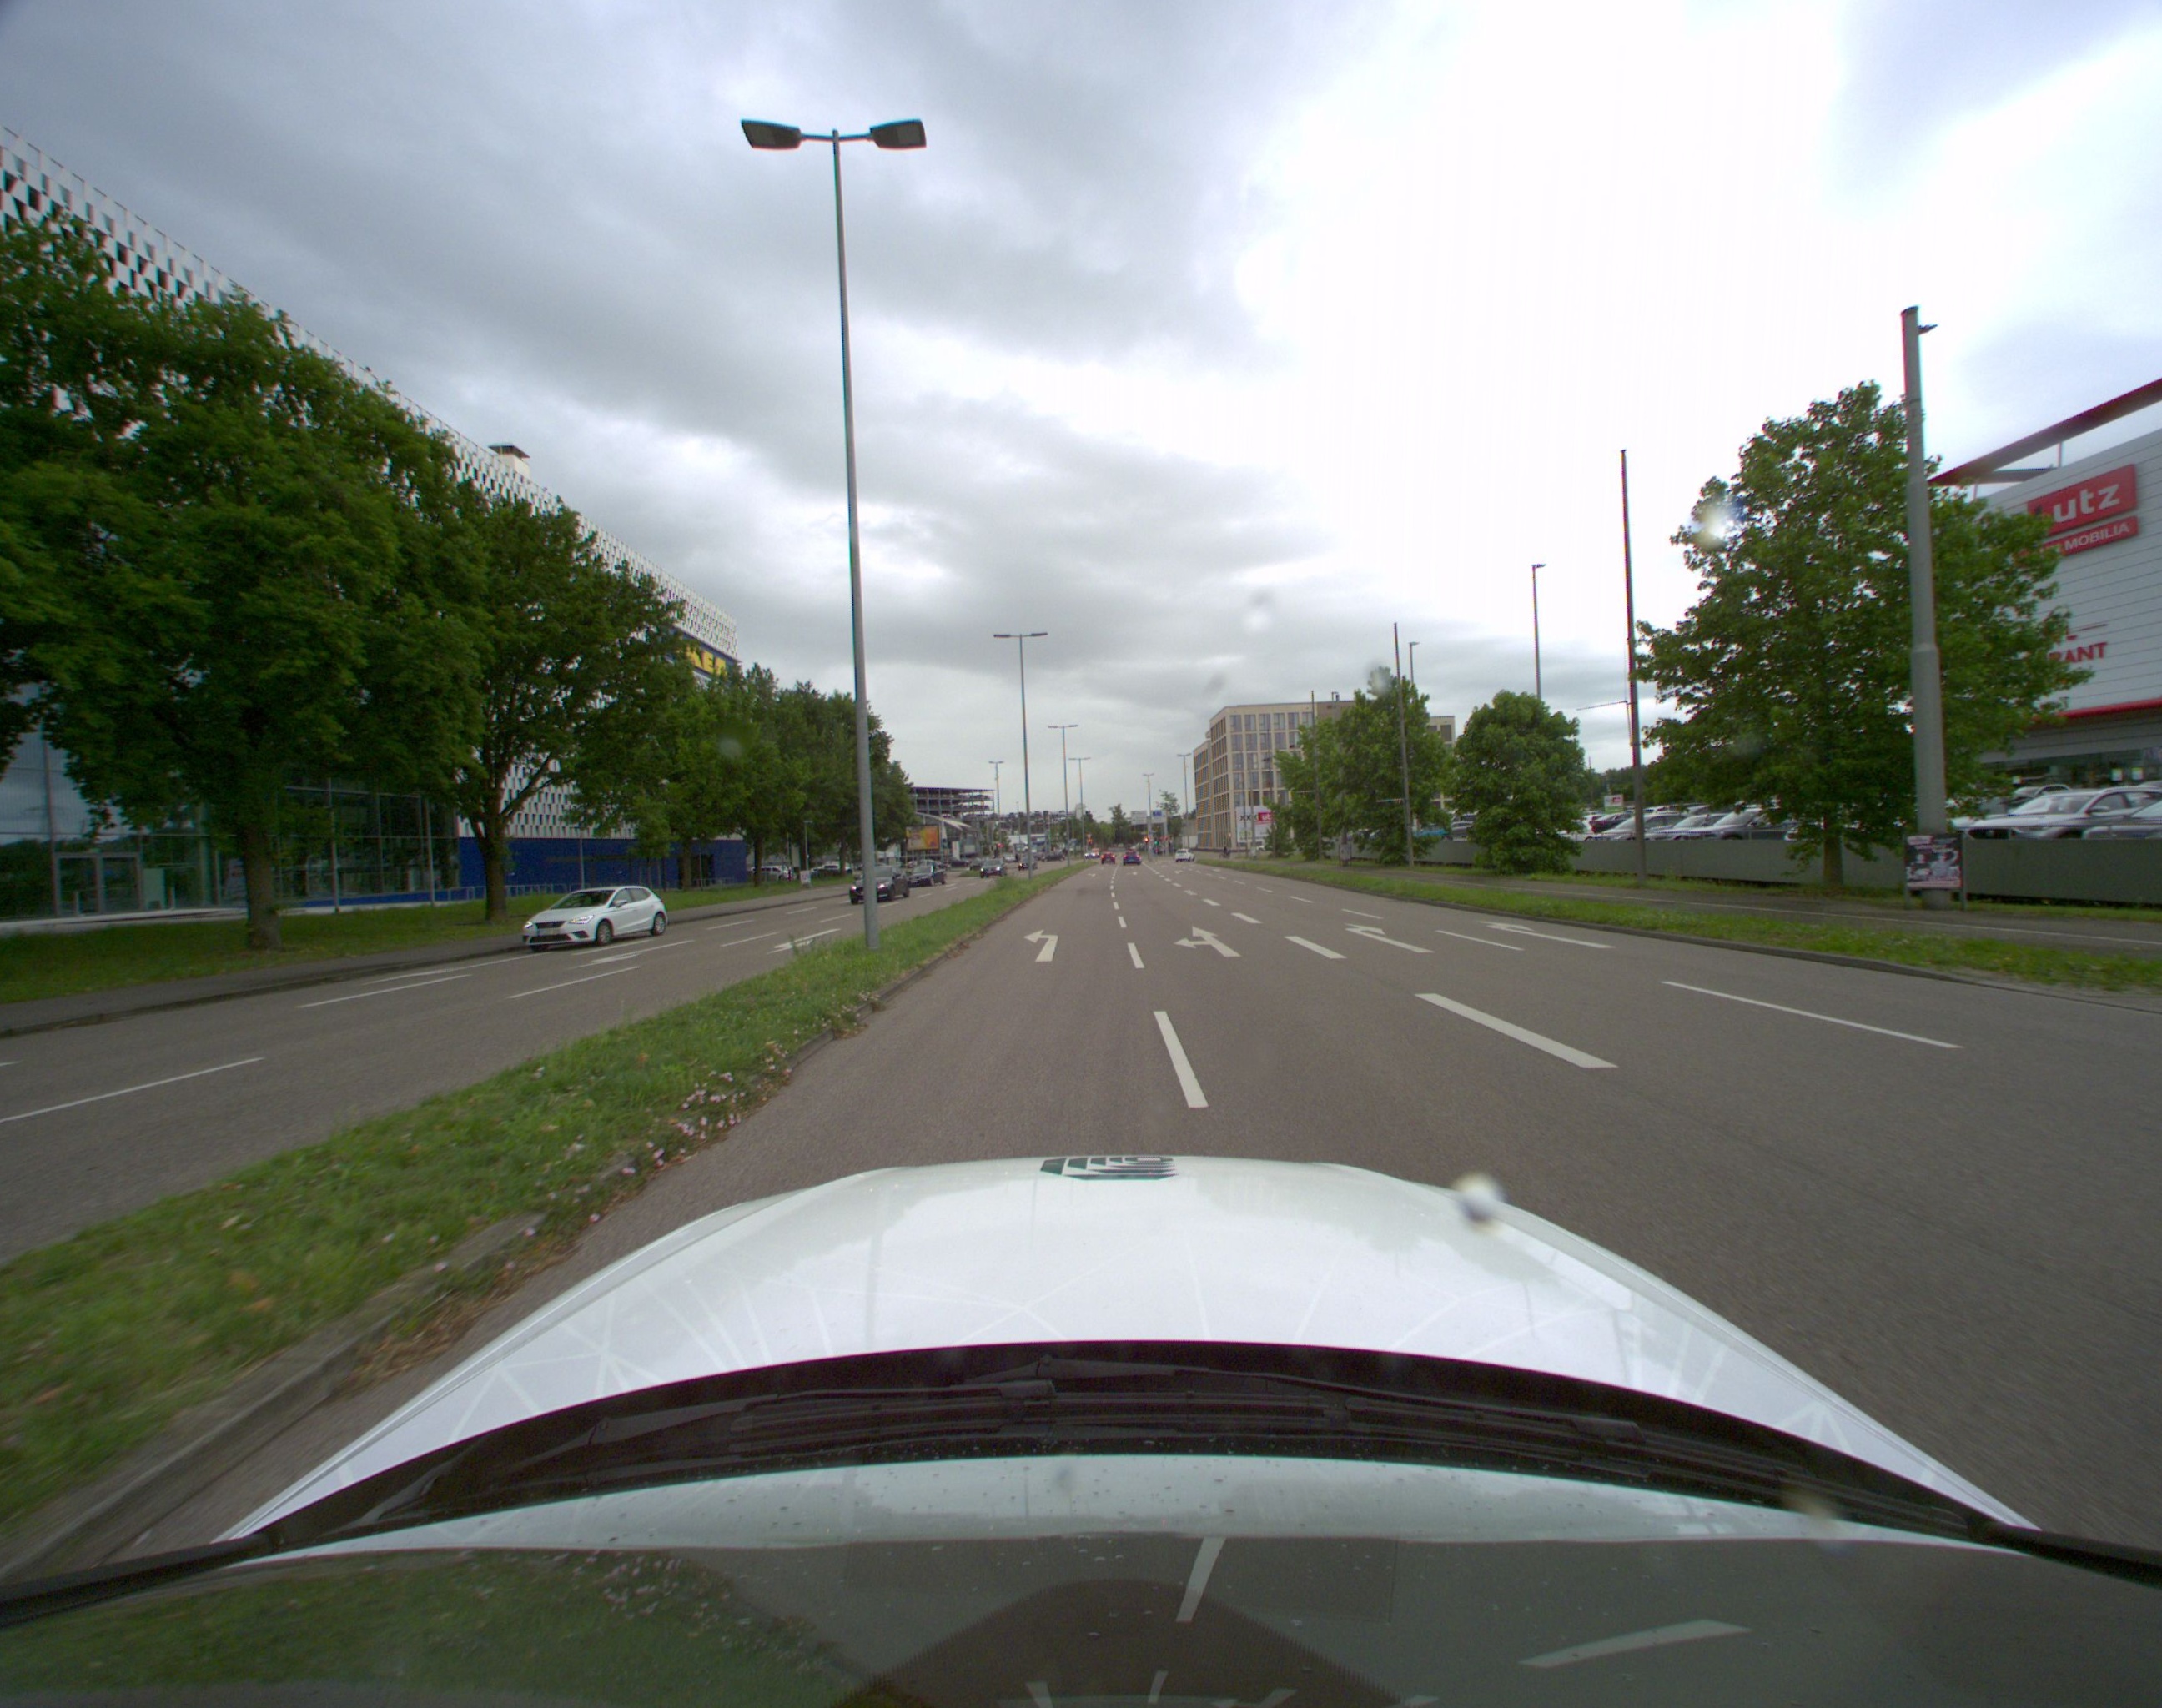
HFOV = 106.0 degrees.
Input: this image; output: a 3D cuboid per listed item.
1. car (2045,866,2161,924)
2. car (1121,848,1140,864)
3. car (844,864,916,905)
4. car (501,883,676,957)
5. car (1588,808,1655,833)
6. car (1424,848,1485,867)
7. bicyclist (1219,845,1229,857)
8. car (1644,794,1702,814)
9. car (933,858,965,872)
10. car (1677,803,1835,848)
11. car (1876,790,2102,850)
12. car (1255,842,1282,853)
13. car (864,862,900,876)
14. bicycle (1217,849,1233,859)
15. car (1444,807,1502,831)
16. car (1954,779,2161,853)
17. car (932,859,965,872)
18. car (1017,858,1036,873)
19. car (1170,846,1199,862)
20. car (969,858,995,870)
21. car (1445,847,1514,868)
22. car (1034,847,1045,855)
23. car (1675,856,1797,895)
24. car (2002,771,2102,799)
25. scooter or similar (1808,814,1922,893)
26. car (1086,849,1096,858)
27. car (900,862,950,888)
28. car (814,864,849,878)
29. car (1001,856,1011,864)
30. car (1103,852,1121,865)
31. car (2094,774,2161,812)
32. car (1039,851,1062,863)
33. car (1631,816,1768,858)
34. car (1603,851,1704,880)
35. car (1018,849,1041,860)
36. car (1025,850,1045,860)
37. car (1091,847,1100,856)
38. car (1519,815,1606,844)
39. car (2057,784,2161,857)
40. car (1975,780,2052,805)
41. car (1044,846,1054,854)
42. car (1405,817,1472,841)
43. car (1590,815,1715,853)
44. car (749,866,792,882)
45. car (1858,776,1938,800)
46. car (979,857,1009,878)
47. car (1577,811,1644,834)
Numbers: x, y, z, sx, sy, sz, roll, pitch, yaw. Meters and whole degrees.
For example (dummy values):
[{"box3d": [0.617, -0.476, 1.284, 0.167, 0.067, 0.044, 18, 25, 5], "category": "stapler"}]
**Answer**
[{"box3d": [28.923, 1.050, 21.784, 4.038, 1.350, 1.765, -2, 0, 2], "category": "car"}, {"box3d": [5.350, 0.197, 88.430, 1.828, 1.514, 4.002, -3, 2, 2], "category": "car"}, {"box3d": [-8.323, 1.222, 34.096, 1.751, 1.453, 4.003, -4, 0, 3], "category": "car"}, {"box3d": [-12.417, 1.606, 20.909, 1.860, 1.454, 4.167, -5, -1, -1], "category": "car"}, {"box3d": [38.834, -2.388, 58.598, 3.614, 1.632, 1.704, -3, 2, 5], "category": "car"}, {"box3d": [29.871, 0.298, 65.143, 4.039, 1.350, 1.764, -2, 0, 1], "category": "car"}, {"box3d": [17.917, -0.357, 102.222, 0.705, 1.504, 0.989, -3, 1, -34], "category": "bicyclist"}, {"box3d": [49.911, -4.190, 68.730, 3.614, 1.495, 1.704, -3, 2, 5], "category": "car"}, {"box3d": [-19.711, 1.637, 121.727, 4.387, 1.643, 2.001, -3, 2, 0], "category": "car"}, {"box3d": [23.844, -0.997, 28.862, 4.139, 1.350, 1.810, -3, 2, 0], "category": "car"}, {"box3d": [24.096, -0.894, 21.719, 4.041, 1.350, 1.835, -3, 2, 0], "category": "car"}, {"box3d": [31.034, -1.040, 135.109, 3.945, 1.567, 1.753, -3, 2, -12], "category": "car"}, {"box3d": [-27.928, 2.076, 114.637, 4.536, 1.659, 1.997, -4, 1, -5], "category": "car"}, {"box3d": [18.065, 0.010, 102.044, 0.705, 1.295, 1.990, -3, 1, -34], "category": "bicycle"}, {"box3d": [40.586, -3.661, 84.417, 4.987, 2.210, 2.169, -3, 2, 5], "category": "car"}, {"box3d": [23.739, -0.915, 19.339, 4.038, 1.540, 1.765, -3, 2, 2], "category": "car"}, {"box3d": [-18.749, 1.622, 115.455, 4.409, 1.660, 1.997, -2, 0, -5], "category": "car"}, {"box3d": [-5.937, 1.245, 89.694, 1.926, 1.455, 4.178, -2, 0, -3], "category": "car"}, {"box3d": [12.644, -0.017, 99.273, 1.975, 1.752, 4.206, -3, 0, 28], "category": "car"}, {"box3d": [-15.607, 1.526, 128.785, 3.848, 1.634, 1.723, -3, 2, -4], "category": "car"}, {"box3d": [24.832, 0.224, 50.803, 3.501, 1.131, 1.516, -2, 0, 1], "category": "car"}, {"box3d": [-9.585, -0.783, 189.627, 1.766, 1.705, 3.925, -2, 2, 7], "category": "car"}, {"box3d": [29.417, 0.961, 36.641, 4.040, 1.551, 1.764, -2, 0, 0], "category": "car"}, {"box3d": [55.296, -3.911, 46.439, 3.578, 1.376, 1.704, -3, 2, 3], "category": "car"}, {"box3d": [15.347, -0.007, 16.007, 0.646, 1.421, 1.824, -3, -1, 10], "category": "scooter or similar"}, {"box3d": [1.792, -0.167, 149.139, 1.594, 1.453, 3.327, -3, 2, 3], "category": "car"}, {"box3d": [-9.978, 1.321, 52.390, 1.762, 1.452, 4.414, -5, 0, 8], "category": "car"}, {"box3d": [-35.833, 2.434, 117.060, 4.424, 1.711, 1.998, -3, 4, -4], "category": "car"}, {"box3d": [-12.999, 1.026, 140.646, 1.372, 1.326, 3.022, -3, 2, -12], "category": "car"}, {"box3d": [3.843, 0.587, 100.813, 1.981, 1.428, 4.241, -3, -1, 0], "category": "car"}, {"box3d": [49.150, -2.822, 36.952, 4.274, 1.585, 1.865, -3, 2, -2], "category": "car"}, {"box3d": [-4.970, 0.520, 131.700, 3.669, 1.771, 1.743, -3, 2, -4], "category": "car"}, {"box3d": [24.135, -0.679, 31.857, 4.041, 1.399, 1.764, -3, 2, 0], "category": "car"}, {"box3d": [29.857, 0.598, 42.531, 4.042, 1.350, 1.763, -2, 0, -1], "category": "car"}, {"box3d": [-9.195, 0.061, 145.400, 3.977, 1.790, 1.846, -3, 2, -3], "category": "car"}, {"box3d": [-8.799, 0.129, 156.296, 3.597, 1.667, 1.547, -3, 2, -3], "category": "car"}, {"box3d": [2.745, -0.513, 157.261, 1.594, 1.453, 3.327, -3, 2, 3], "category": "car"}, {"box3d": [24.487, -1.262, 41.484, 3.507, 1.307, 1.604, -3, 2, -4], "category": "car"}, {"box3d": [23.807, -0.792, 17.030, 4.448, 1.419, 1.868, -3, 2, 2], "category": "car"}, {"box3d": [64.598, -4.278, 56.470, 3.626, 1.497, 1.707, -3, 2, -4], "category": "car"}, {"box3d": [-7.405, -0.885, 189.606, 1.766, 1.705, 3.925, -2, 2, 7], "category": "car"}, {"box3d": [25.852, -1.803, 58.998, 4.058, 1.524, 1.811, -3, 1, -3], "category": "car"}, {"box3d": [24.039, -0.862, 34.357, 4.041, 1.350, 1.764, -3, 2, 0], "category": "car"}, {"box3d": [-43.566, 2.794, 114.261, 5.116, 1.963, 1.880, -3, 2, -1], "category": "car"}, {"box3d": [48.445, -3.913, 48.309, 3.241, 1.229, 1.463, -3, 2, 1], "category": "car"}, {"box3d": [-6.997, 1.097, 65.617, 1.773, 1.455, 4.183, -4, 0, 1], "category": "car"}, {"box3d": [39.944, -2.395, 61.500, 3.826, 1.507, 1.786, -3, 1, 3], "category": "car"}]
